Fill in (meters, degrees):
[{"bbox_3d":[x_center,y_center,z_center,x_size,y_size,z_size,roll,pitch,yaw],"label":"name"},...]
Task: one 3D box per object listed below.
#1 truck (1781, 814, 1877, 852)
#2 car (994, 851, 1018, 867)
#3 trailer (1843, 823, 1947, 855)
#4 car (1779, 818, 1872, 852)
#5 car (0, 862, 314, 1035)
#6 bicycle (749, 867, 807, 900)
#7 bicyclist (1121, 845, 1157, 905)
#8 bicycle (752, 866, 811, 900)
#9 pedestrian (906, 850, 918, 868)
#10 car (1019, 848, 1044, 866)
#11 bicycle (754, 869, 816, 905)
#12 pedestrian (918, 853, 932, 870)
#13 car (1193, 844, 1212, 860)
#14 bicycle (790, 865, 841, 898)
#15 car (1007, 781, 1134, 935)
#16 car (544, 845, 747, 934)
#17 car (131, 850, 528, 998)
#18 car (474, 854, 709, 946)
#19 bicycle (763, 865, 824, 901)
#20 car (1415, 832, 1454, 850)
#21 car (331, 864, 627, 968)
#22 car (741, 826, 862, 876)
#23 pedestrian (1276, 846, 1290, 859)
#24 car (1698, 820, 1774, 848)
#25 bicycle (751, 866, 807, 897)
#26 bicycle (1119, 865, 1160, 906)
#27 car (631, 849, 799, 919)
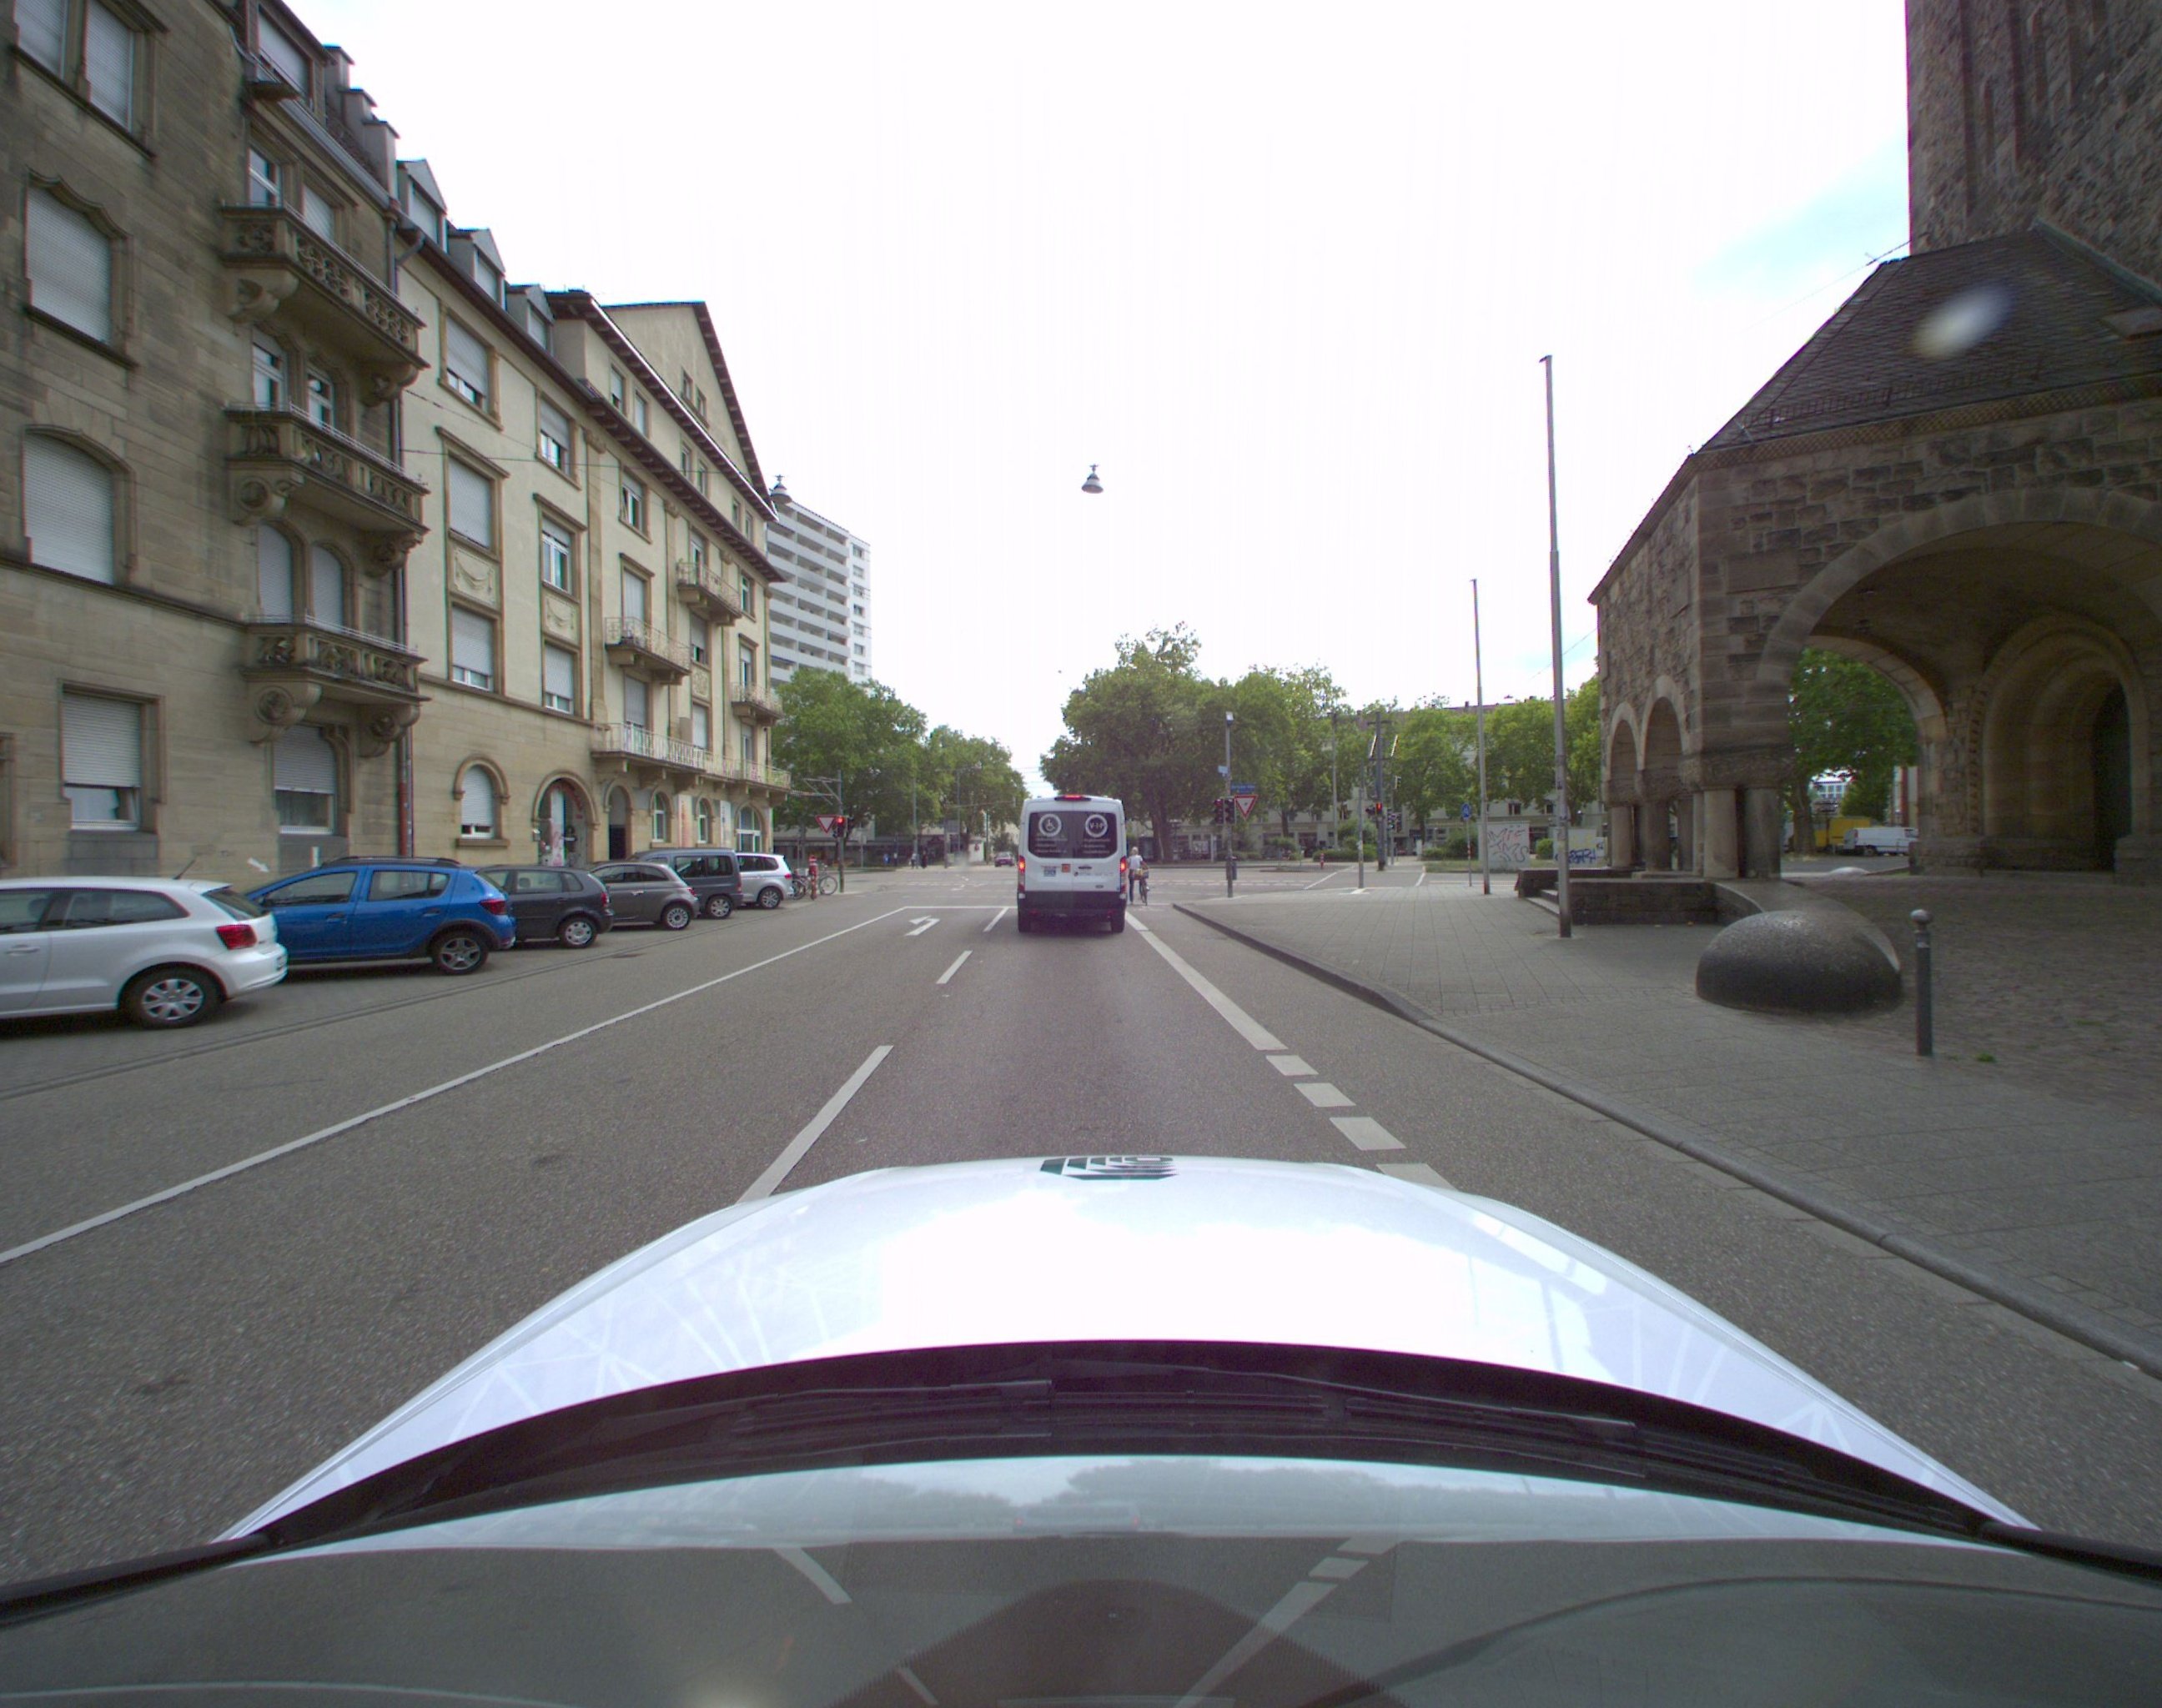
[{"bbox_3d":[55.116,-1.518,60.237,3.044,2.577,6.546,-1,0,22],"label":"truck"},{"bbox_3d":[-7.398,0.505,80.595,1.613,1.476,4.007,-2,1,6],"label":"car"},{"bbox_3d":[52.956,-0.977,53.103,4.383,1.925,1.864,-1,0,23],"label":"trailer"},{"bbox_3d":[62.047,-1.540,68.016,5.274,2.585,2.191,-1,-1,20],"label":"car"},{"bbox_3d":[-10.137,0.871,7.922,3.703,1.481,1.722,-2,0,-38],"label":"car"},{"bbox_3d":[-10.718,1.034,28.850,1.809,1.120,0.592,1,0,-10],"label":"bicycle"},{"bbox_3d":[1.659,0.586,23.430,0.902,1.683,0.755,-1,0,-5],"label":"bicyclist"},{"bbox_3d":[-10.373,1.010,28.251,1.809,1.166,0.592,1,0,-10],"label":"bicycle"},{"bbox_3d":[-15.182,0.481,73.268,0.801,1.572,0.726,-1,0,12],"label":"pedestrian"},{"bbox_3d":[-4.812,0.270,80.044,1.724,1.592,4.007,-2,1,6],"label":"car"},{"bbox_3d":[-9.755,1.087,26.865,1.801,1.120,0.595,-2,0,4],"label":"bicycle"},{"bbox_3d":[-14.045,0.706,73.267,0.923,1.514,0.726,-1,0,12],"label":"pedestrian"},{"bbox_3d":[15.807,-0.284,105.889,1.985,1.930,4.004,-1,0,3],"label":"car"},{"bbox_3d":[-10.011,1.024,30.691,1.860,1.167,0.500,1,-1,19],"label":"bicycle"},{"bbox_3d":[-0.293,0.022,16.485,2.177,2.647,4.623,-1,1,-3],"label":"car"},{"bbox_3d":[-10.502,0.770,19.768,4.033,1.878,1.775,-2,0,-41],"label":"car"},{"bbox_3d":[-10.055,0.820,11.313,3.796,1.651,1.705,-2,0,-38],"label":"car"},{"bbox_3d":[-10.353,0.886,17.368,4.033,1.651,1.775,-2,0,-41],"label":"car"},{"bbox_3d":[-9.723,0.982,27.537,1.802,1.120,0.594,2,0,2],"label":"bicycle"},{"bbox_3d":[39.317,-1.448,90.635,3.952,1.883,1.867,-2,0,22],"label":"car"},{"bbox_3d":[-10.303,0.961,14.209,3.922,1.443,1.816,-2,0,-38],"label":"car"},{"bbox_3d":[-23.618,-0.234,68.781,9.797,3.915,3.474,-1,0,23],"label":"car"},{"bbox_3d":[20.322,-0.109,81.894,1.087,1.236,1.442,-3,-1,3],"label":"pedestrian"},{"bbox_3d":[64.764,-1.919,80.632,5.274,2.585,2.511,-1,-1,20],"label":"car"},{"bbox_3d":[-10.944,0.996,29.539,1.809,1.120,0.592,1,0,-10],"label":"bicycle"},{"bbox_3d":[1.665,0.897,23.648,0.901,1.075,1.967,-1,0,-4],"label":"bicycle"},{"bbox_3d":[-10.396,0.782,23.264,4.033,1.773,1.775,-2,0,-41],"label":"car"}]
